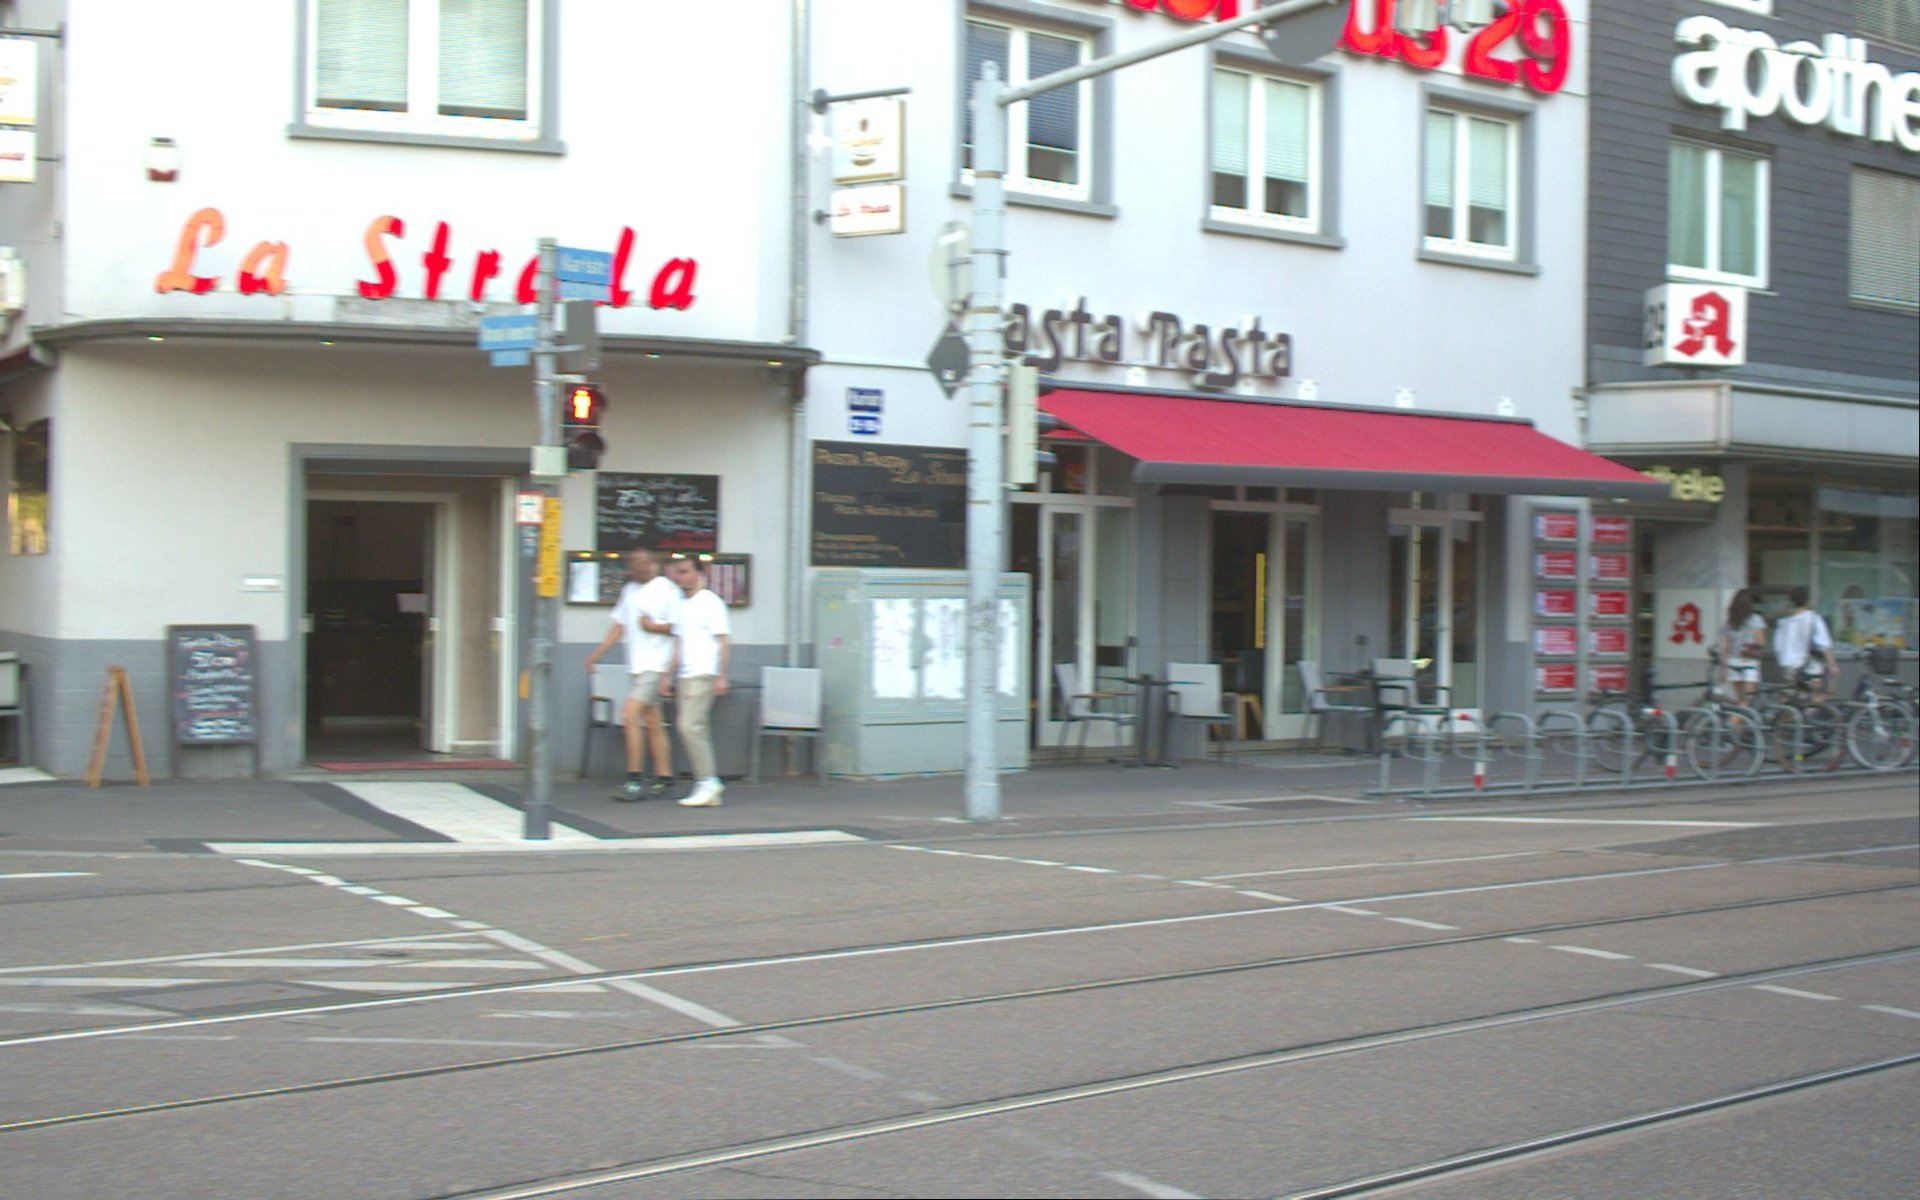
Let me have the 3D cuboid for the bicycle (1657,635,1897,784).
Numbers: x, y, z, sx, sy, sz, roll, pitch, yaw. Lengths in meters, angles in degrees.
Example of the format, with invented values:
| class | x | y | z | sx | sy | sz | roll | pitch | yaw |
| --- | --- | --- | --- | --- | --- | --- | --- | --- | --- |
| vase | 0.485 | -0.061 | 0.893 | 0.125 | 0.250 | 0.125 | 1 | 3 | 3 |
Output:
| class | x | y | z | sx | sy | sz | roll | pitch | yaw |
| --- | --- | --- | --- | --- | --- | --- | --- | --- | --- |
| bicycle | 7.532 | 0.994 | 31.776 | 2.117 | 1.220 | 0.552 | 4 | 2 | 44 |

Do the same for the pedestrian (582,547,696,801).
| class | x | y | z | sx | sy | sz | roll | pitch | yaw |
| --- | --- | --- | --- | --- | --- | --- | --- | --- | --- |
| pedestrian | -2.285 | 0.519 | 24.446 | 0.598 | 1.773 | 0.638 | 1 | 0 | -24 |

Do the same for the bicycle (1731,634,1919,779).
| class | x | y | z | sx | sy | sz | roll | pitch | yaw |
| --- | --- | --- | --- | --- | --- | --- | --- | --- | --- |
| bicycle | 8.440 | 1.001 | 32.703 | 2.118 | 1.219 | 0.552 | 4 | 3 | 44 |

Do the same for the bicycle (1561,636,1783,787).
| class | x | y | z | sx | sy | sz | roll | pitch | yaw |
| --- | --- | --- | --- | --- | --- | --- | --- | --- | --- |
| bicycle | 6.360 | 0.982 | 30.778 | 1.896 | 1.207 | 0.552 | 4 | 2 | 44 |

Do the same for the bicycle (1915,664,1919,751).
| class | x | y | z | sx | sy | sz | roll | pitch | yaw |
| --- | --- | --- | --- | --- | --- | --- | --- | --- | --- |
| bicycle | 10.831 | 1.167 | 35.565 | 1.810 | 0.909 | 0.455 | 4 | 4 | 44 |

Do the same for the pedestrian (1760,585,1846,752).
| class | x | y | z | sx | sy | sz | roll | pitch | yaw |
| --- | --- | --- | --- | --- | --- | --- | --- | --- | --- |
| pedestrian | 8.690 | 0.693 | 35.451 | 0.622 | 1.693 | 0.601 | 1 | 1 | 43 |

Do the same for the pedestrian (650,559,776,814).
| class | x | y | z | sx | sy | sz | roll | pitch | yaw |
| --- | --- | --- | --- | --- | --- | --- | --- | --- | --- |
| pedestrian | -1.723 | 0.591 | 23.916 | 0.666 | 1.738 | 0.638 | 1 | 0 | -24 |

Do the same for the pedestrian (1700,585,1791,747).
| class | x | y | z | sx | sy | sz | roll | pitch | yaw |
| --- | --- | --- | --- | --- | --- | --- | --- | --- | --- |
| pedestrian | 8.212 | 0.680 | 35.937 | 0.684 | 1.655 | 0.623 | 1 | 1 | 43 |
